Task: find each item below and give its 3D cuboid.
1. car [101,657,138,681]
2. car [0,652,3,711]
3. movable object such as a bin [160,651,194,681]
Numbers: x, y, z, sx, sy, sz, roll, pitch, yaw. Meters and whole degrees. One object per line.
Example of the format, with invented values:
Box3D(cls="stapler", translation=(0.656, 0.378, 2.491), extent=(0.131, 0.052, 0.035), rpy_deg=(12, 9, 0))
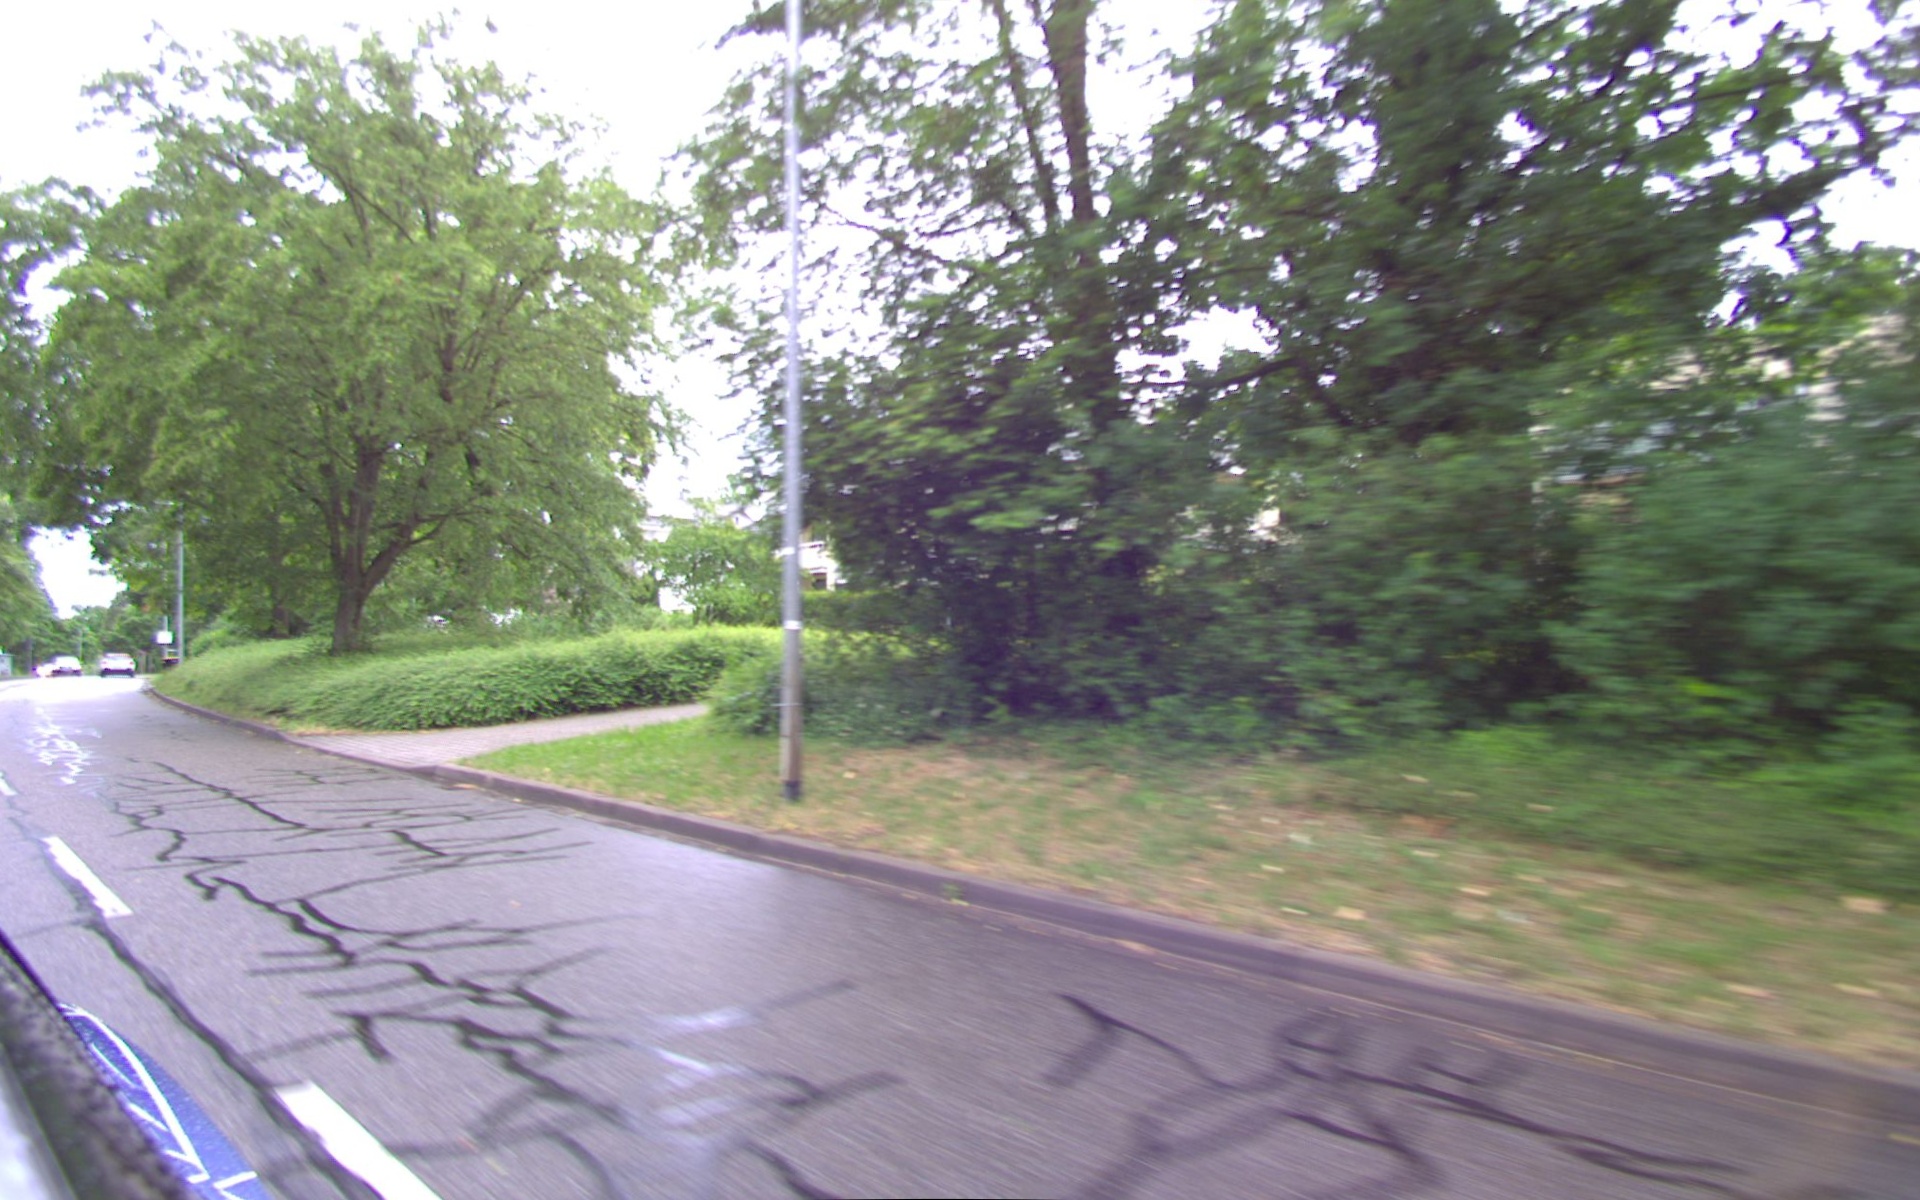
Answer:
Box3D(cls="car", translation=(-54.197, 4.443, 65.296), extent=(1.644, 1.489, 3.739), rpy_deg=(3, -5, -38))
Box3D(cls="car", translation=(-33.720, 2.807, 34.119), extent=(1.969, 2.029, 4.005), rpy_deg=(0, -4, -42))
Box3D(cls="movable object such as a bin", translation=(-30.827, 2.588, 39.860), extent=(1.024, 1.113, 0.968), rpy_deg=(-2, -2, -37))
